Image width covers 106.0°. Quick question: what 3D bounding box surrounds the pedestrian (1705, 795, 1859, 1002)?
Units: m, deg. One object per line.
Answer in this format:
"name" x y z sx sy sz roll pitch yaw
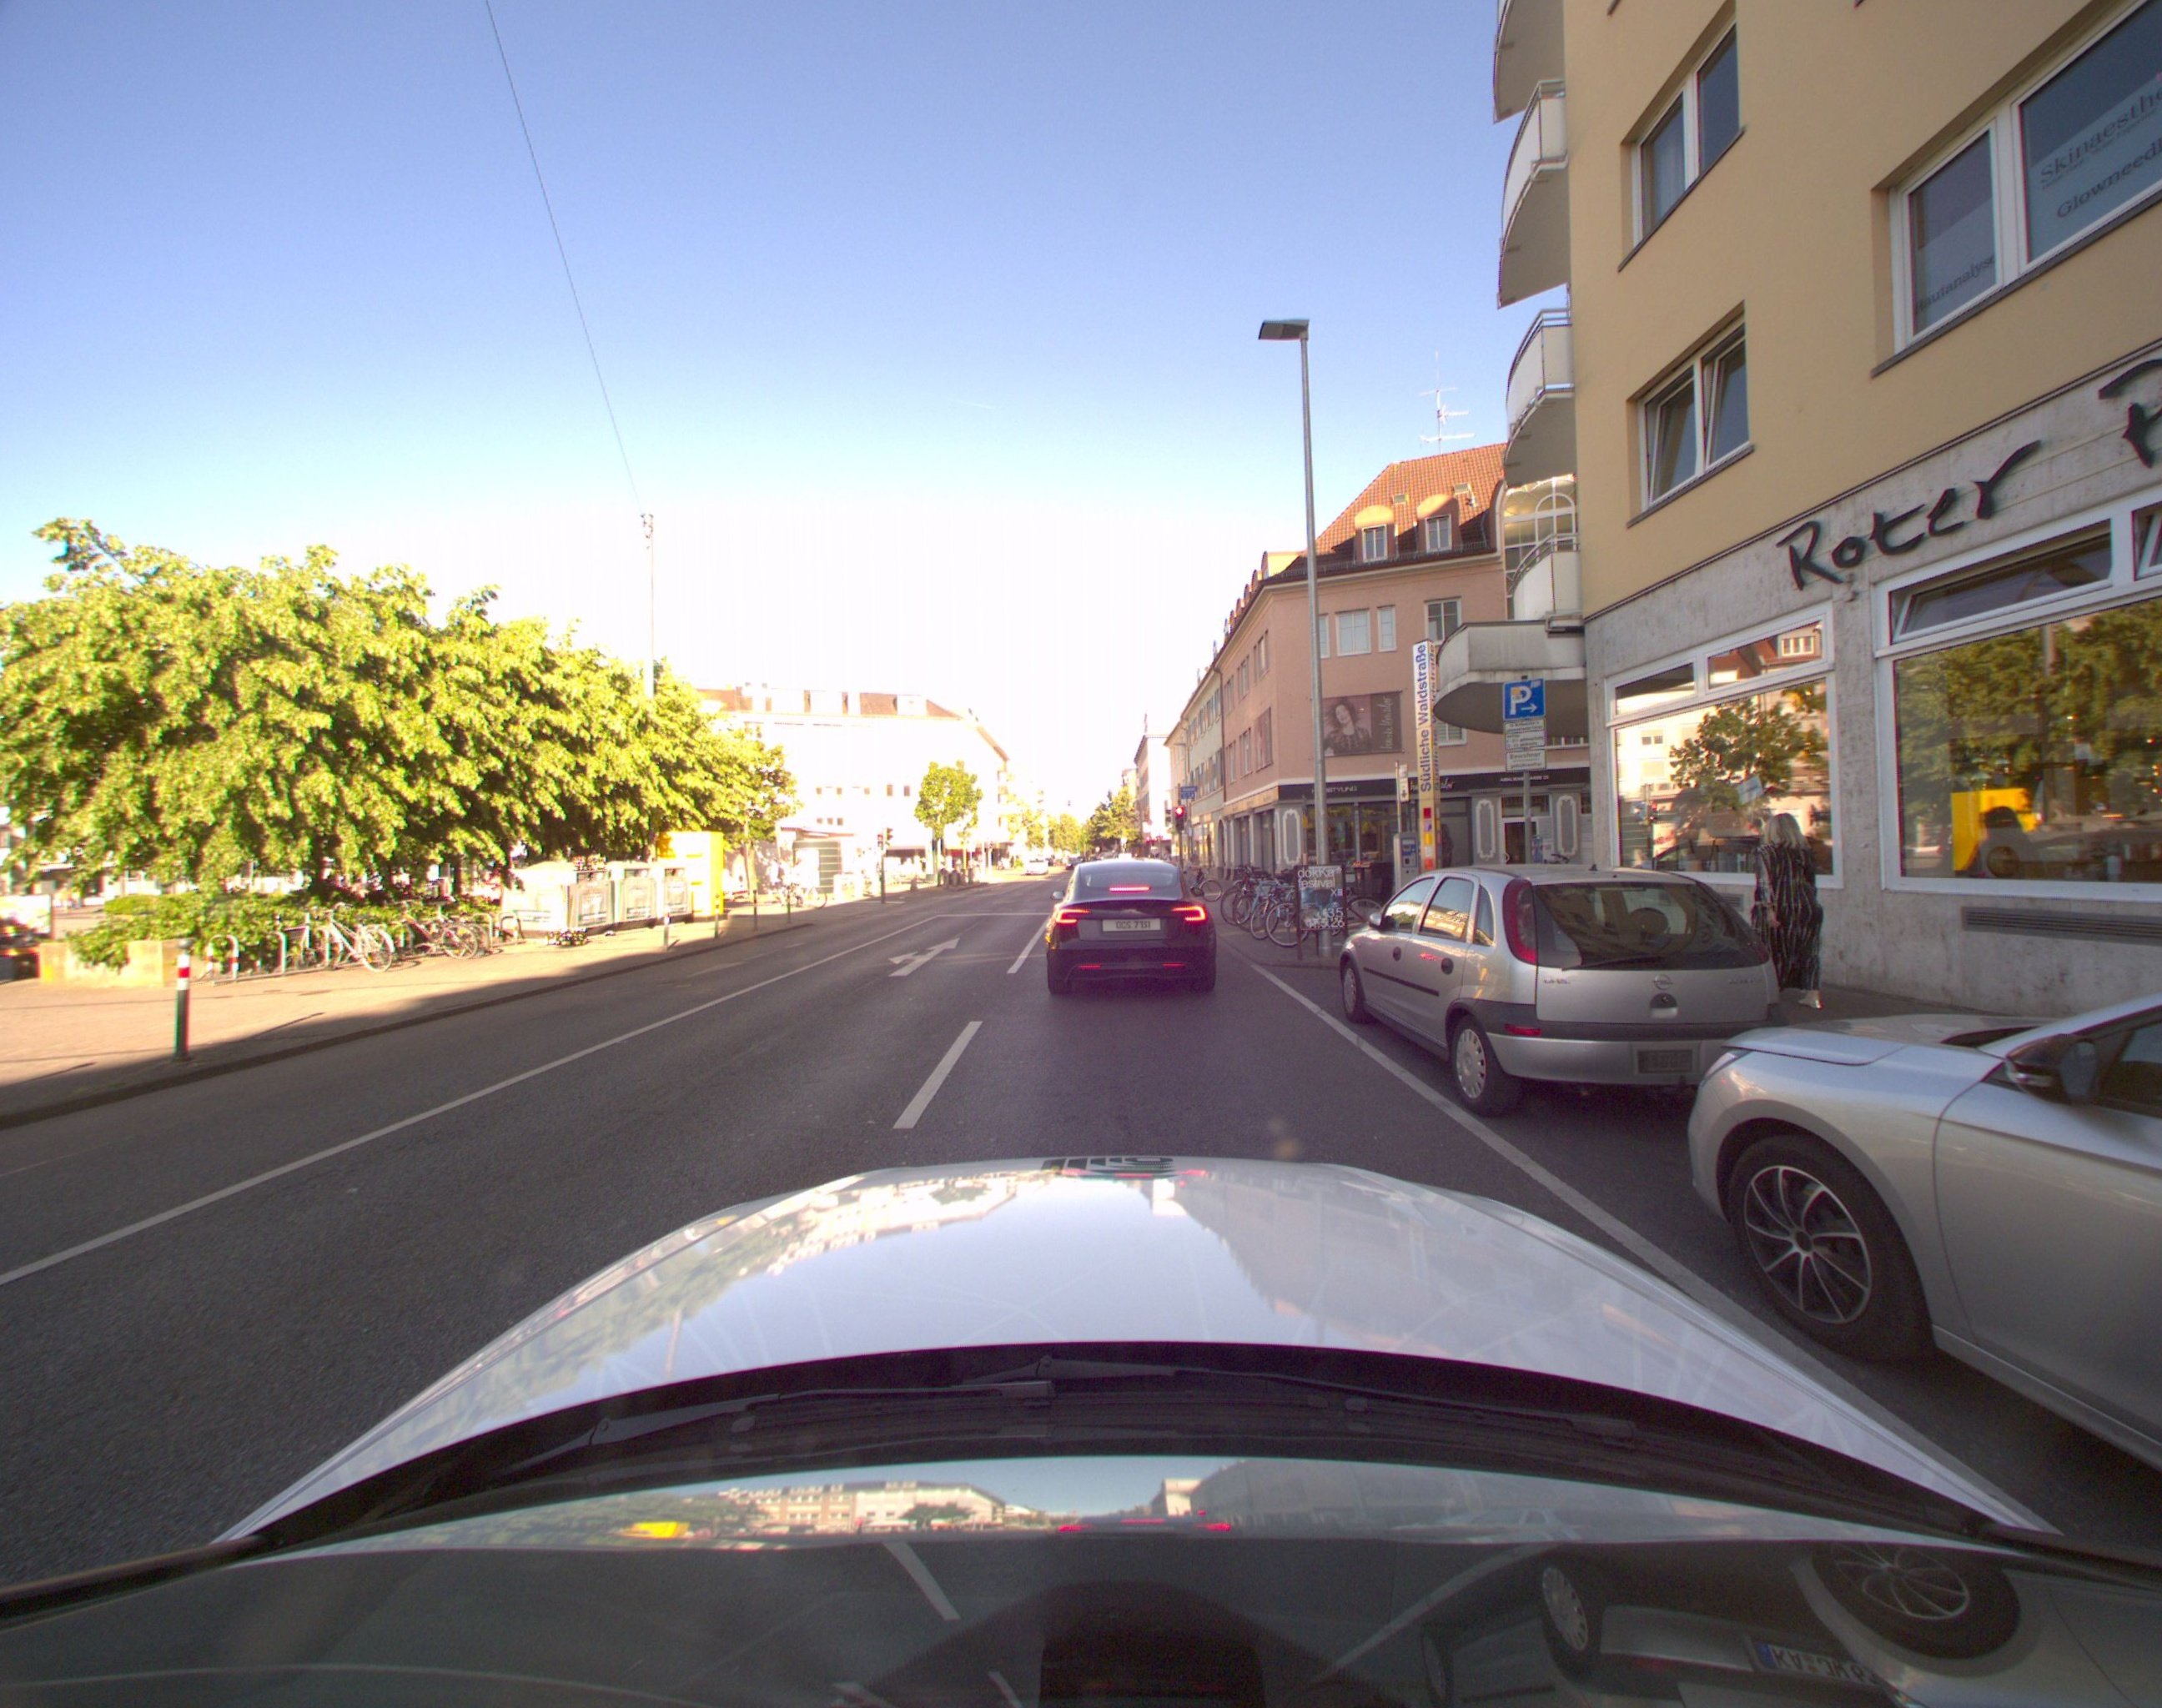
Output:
"pedestrian" 5.915 0.365 6.914 0.659 1.633 0.629 -4 -1 6

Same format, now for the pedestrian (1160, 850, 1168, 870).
"pedestrian" 8.486 0.600 83.155 0.620 2.013 0.562 -1 0 28

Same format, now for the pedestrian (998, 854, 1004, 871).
"pedestrian" -9.615 1.063 97.514 0.623 2.013 0.575 -1 0 1

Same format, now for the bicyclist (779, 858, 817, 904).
"bicyclist" -9.997 0.940 28.775 1.088 1.589 0.631 -1 0 18

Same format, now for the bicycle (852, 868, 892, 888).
"bicycle" -12.320 1.405 48.040 2.074 1.104 0.806 -1 0 1

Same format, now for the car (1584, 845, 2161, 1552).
"car" 3.033 0.696 1.459 1.665 1.427 4.075 -1 0 -1

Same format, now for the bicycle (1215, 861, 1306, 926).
"bicycle" 3.518 0.762 16.010 1.622 1.160 0.433 -3 0 0

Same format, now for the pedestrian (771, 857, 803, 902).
"pedestrian" -11.538 1.007 31.963 0.897 1.725 0.745 -1 0 5

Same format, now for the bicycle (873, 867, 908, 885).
"bicycle" -12.362 1.442 52.819 2.074 1.104 0.806 -1 0 1

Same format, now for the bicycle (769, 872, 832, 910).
"bicycle" -9.895 1.287 28.757 2.108 1.200 0.631 2 0 18

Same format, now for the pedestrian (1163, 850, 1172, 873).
"pedestrian" 6.905 0.574 64.955 0.701 1.783 0.534 -1 0 1

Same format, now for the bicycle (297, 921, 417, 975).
"bicycle" -11.322 1.459 12.744 1.645 0.769 0.476 -1 -1 10

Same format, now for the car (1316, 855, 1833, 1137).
"car" 3.052 0.728 6.068 1.615 1.394 3.888 -1 0 3

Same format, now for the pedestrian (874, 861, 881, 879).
"pedestrian" -15.843 1.251 63.496 0.419 1.339 0.393 -1 0 -5

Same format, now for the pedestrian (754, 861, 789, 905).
"pedestrian" -11.829 1.098 31.112 0.981 1.636 0.738 -1 0 5

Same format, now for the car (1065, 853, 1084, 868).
"car" -0.748 0.758 96.284 2.043 1.727 4.654 -1 0 1

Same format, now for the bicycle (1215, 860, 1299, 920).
"bicycle" 3.702 0.749 17.178 1.621 1.160 0.433 -3 0 2

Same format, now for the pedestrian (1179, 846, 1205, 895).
"pedestrian" 3.325 0.487 24.347 0.738 1.440 0.584 -1 -1 9

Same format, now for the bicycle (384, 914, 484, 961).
"bicycle" -11.243 1.447 14.160 1.465 0.769 0.442 -1 -1 6

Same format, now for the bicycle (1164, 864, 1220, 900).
"bicycle" 3.323 0.827 24.347 1.605 1.045 0.592 -1 -1 9

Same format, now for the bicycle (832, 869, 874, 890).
"bicycle" -12.739 1.417 45.529 2.074 1.104 0.806 -1 0 1

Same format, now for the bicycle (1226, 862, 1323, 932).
"bicycle" 3.514 0.773 14.844 1.622 1.160 0.433 -3 0 0

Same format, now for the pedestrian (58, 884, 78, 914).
"pedestrian" -62.539 2.783 50.267 0.576 1.792 0.604 -1 -1 19

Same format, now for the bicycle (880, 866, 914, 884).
"bicycle" -12.402 1.411 55.016 2.074 1.104 0.806 -1 0 1

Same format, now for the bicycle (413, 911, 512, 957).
"bicycle" -11.172 1.441 14.719 1.466 0.769 0.475 -1 -1 4

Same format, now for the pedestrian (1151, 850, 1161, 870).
"pedestrian" 7.955 0.632 86.391 0.754 2.013 0.792 -1 0 -24

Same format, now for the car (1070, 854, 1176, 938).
"car" 0.827 0.742 16.314 1.842 1.455 3.788 -1 0 3

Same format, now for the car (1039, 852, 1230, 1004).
"car" 0.615 0.733 9.898 1.842 1.455 3.788 -1 0 3

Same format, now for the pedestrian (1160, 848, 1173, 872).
"pedestrian" 6.813 0.474 64.948 0.995 1.850 0.615 -1 0 1

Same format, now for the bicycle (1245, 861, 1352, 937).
"bicycle" 3.630 0.743 13.670 1.622 1.160 0.433 -3 0 0

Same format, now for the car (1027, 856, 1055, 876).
"car" -3.489 1.026 71.470 1.986 1.541 4.002 -5 0 2
